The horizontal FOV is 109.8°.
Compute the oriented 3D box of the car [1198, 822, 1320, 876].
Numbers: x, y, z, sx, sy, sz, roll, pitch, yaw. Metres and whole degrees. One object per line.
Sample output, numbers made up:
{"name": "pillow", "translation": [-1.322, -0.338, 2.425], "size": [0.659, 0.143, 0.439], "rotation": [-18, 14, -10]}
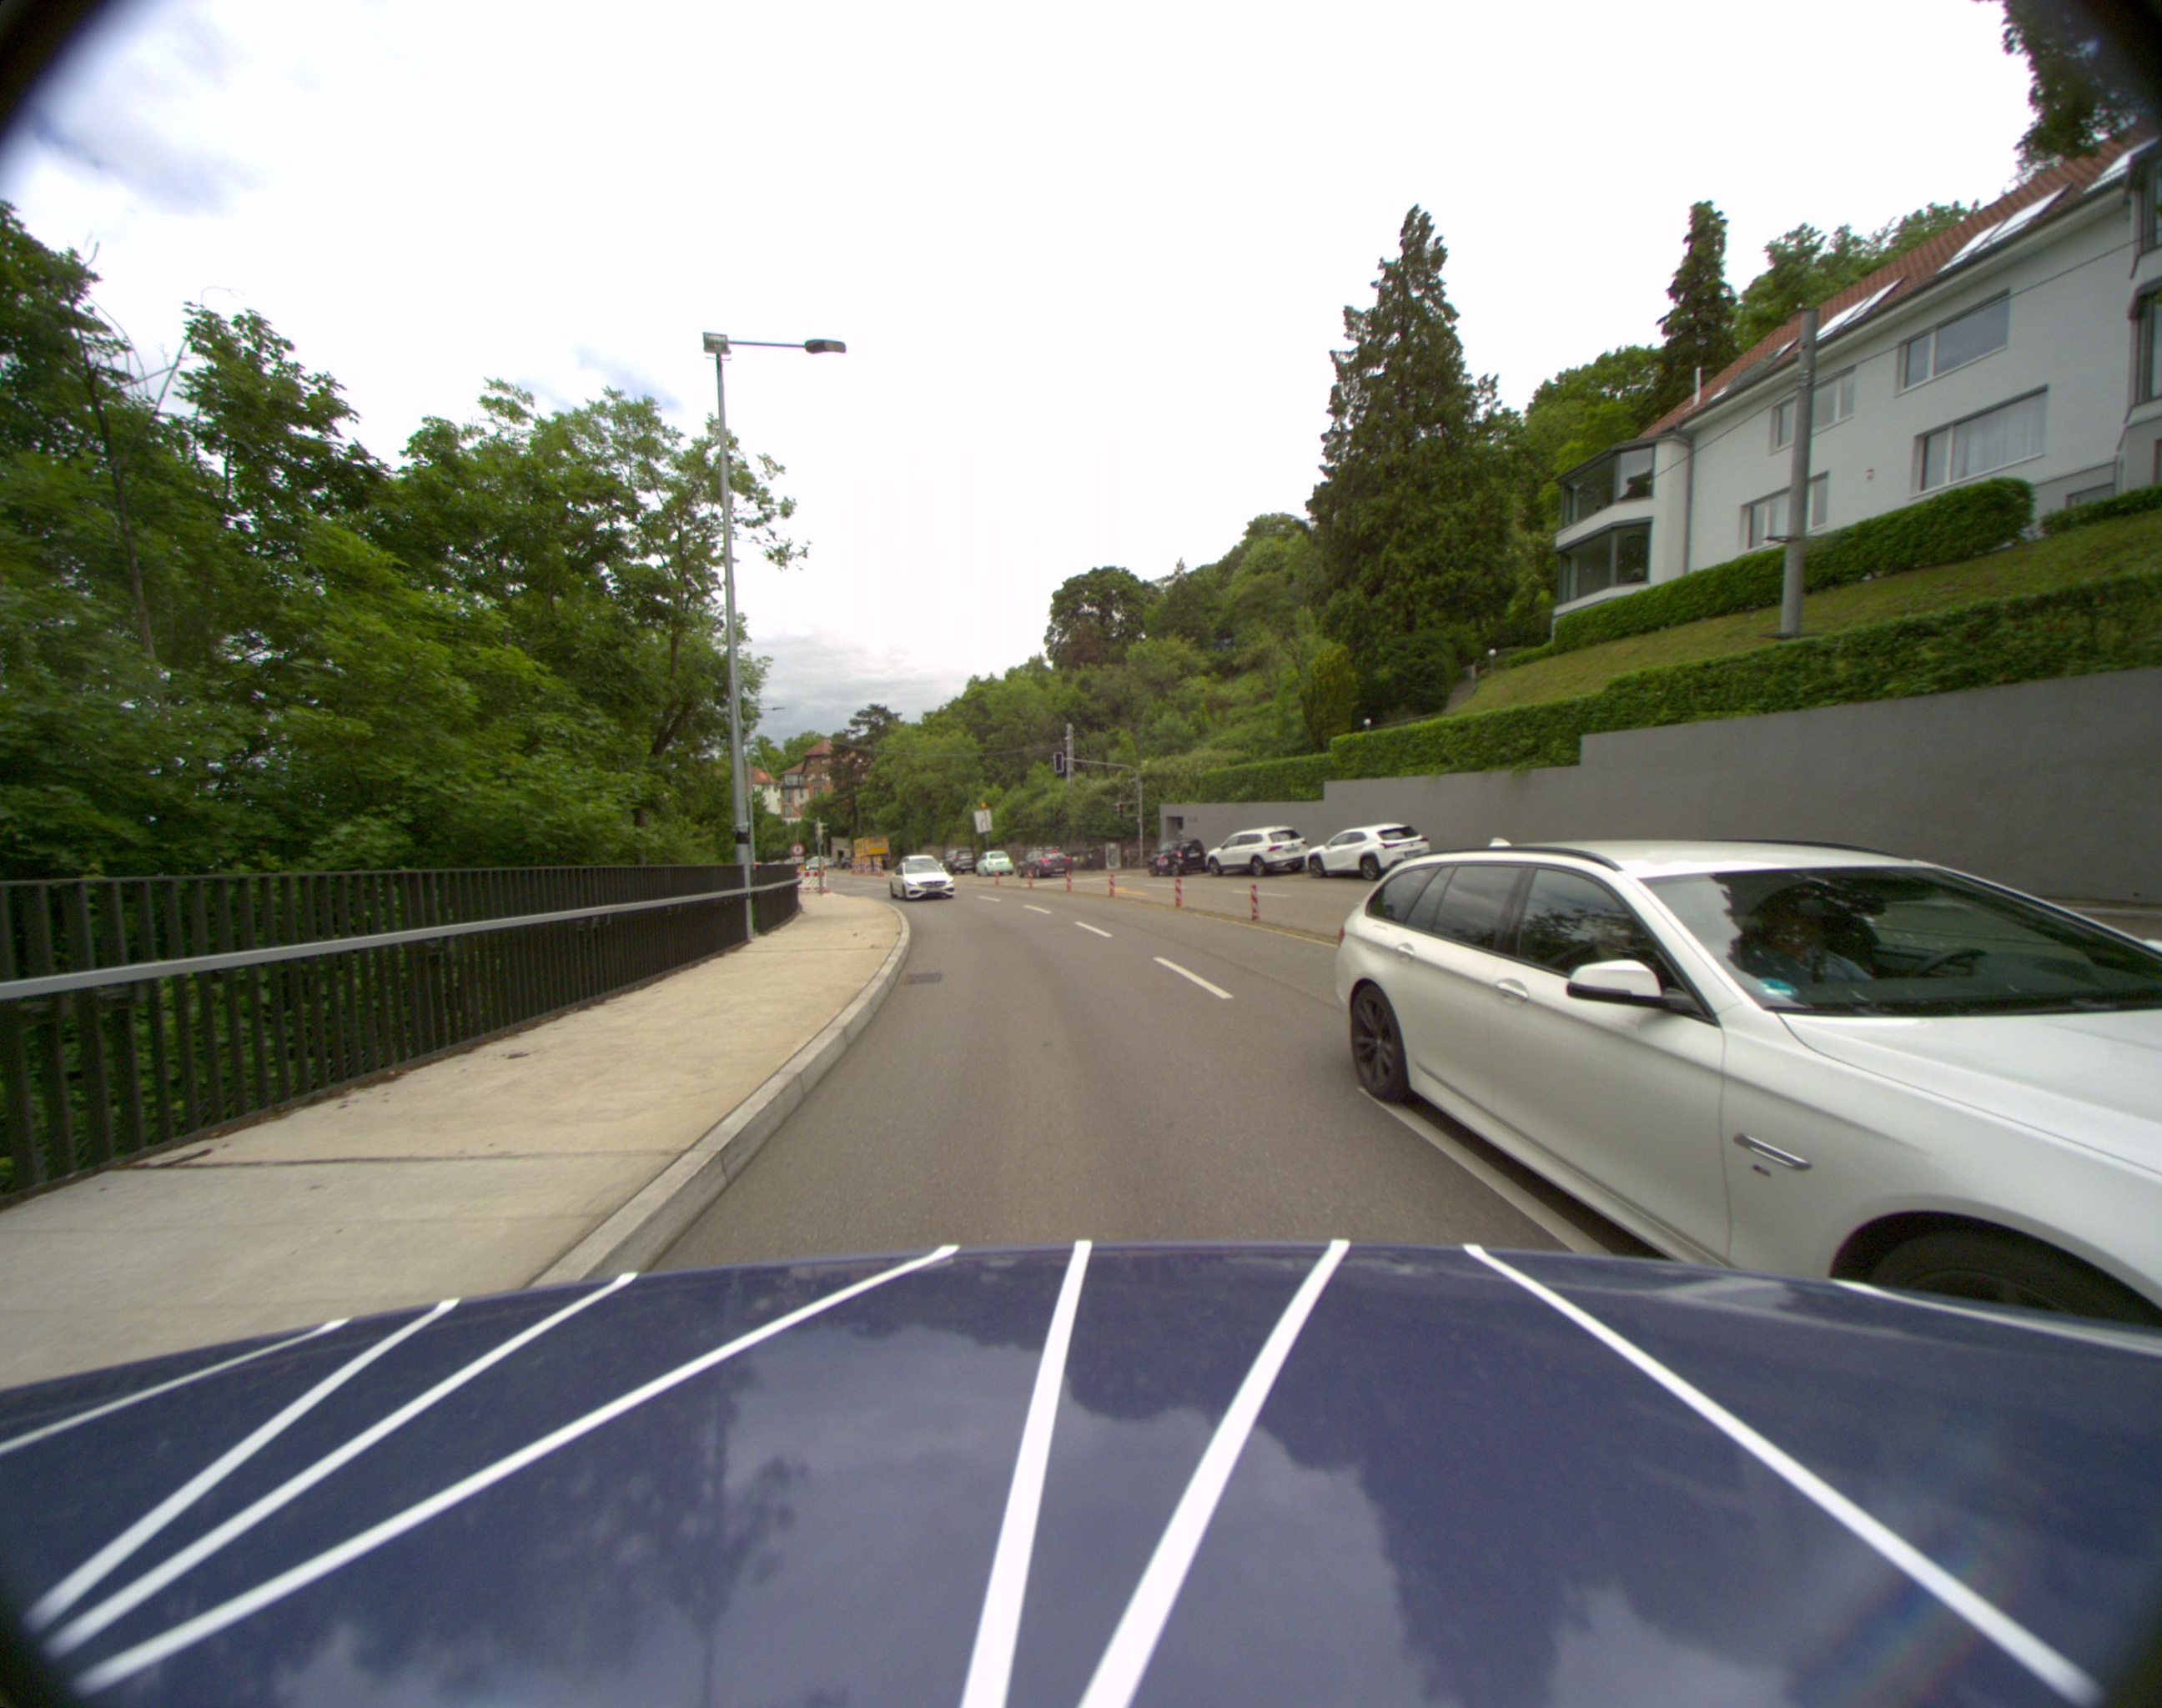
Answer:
{"name": "car", "translation": [6.546, -0.178, 28.521], "size": [1.866, 1.721, 4.752], "rotation": [-6, 2, -24]}

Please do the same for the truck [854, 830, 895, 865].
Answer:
{"name": "truck", "translation": [-22.204, -0.704, 81.506], "size": [2.743, 3.490, 7.334], "rotation": [-4, 2, -26]}

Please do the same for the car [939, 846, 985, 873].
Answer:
{"name": "car", "translation": [-8.471, 0.407, 53.800], "size": [1.891, 1.687, 4.662], "rotation": [-4, 1, -25]}

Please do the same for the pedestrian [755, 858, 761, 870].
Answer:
{"name": "pedestrian", "translation": [-47.031, 1.456, 110.628], "size": [0.641, 1.848, 0.832], "rotation": [-1, 0, -37]}

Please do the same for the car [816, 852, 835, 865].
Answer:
{"name": "car", "translation": [-39.459, 0.658, 117.260], "size": [1.811, 1.781, 4.331], "rotation": [-6, 2, -32]}

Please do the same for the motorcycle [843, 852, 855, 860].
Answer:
{"name": "motorcycle", "translation": [-38.660, 0.337, 126.688], "size": [1.846, 1.177, 0.635], "rotation": [-5, 7, -23]}

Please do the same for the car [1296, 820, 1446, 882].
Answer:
{"name": "car", "translation": [8.624, -0.119, 23.099], "size": [1.839, 1.564, 4.468], "rotation": [-5, 2, -17]}

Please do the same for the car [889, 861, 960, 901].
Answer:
{"name": "car", "translation": [-6.005, 0.970, 28.769], "size": [1.801, 1.299, 4.092], "rotation": [-4, 1, -23]}

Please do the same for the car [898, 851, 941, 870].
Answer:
{"name": "car", "translation": [-13.688, 0.595, 64.027], "size": [1.818, 1.422, 4.863], "rotation": [-5, 2, -33]}

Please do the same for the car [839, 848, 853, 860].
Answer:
{"name": "car", "translation": [-39.729, -0.013, 128.586], "size": [1.575, 1.597, 3.577], "rotation": [-6, 7, -26]}

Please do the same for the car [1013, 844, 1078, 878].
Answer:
{"name": "car", "translation": [-1.929, 0.334, 39.994], "size": [1.718, 1.589, 4.197], "rotation": [-4, 2, -27]}

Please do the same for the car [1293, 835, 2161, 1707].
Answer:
{"name": "car", "translation": [2.588, 0.734, 2.907], "size": [1.853, 1.459, 4.875], "rotation": [-4, 2, -3]}

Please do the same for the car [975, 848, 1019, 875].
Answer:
{"name": "car", "translation": [-5.168, 0.460, 46.402], "size": [1.718, 1.458, 3.654], "rotation": [-5, 1, -21]}

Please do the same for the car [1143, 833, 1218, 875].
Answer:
{"name": "car", "translation": [4.265, 0.011, 32.893], "size": [1.718, 1.564, 2.952], "rotation": [-7, 2, -25]}

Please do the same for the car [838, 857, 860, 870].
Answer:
{"name": "car", "translation": [-29.182, 1.155, 95.305], "size": [1.778, 1.433, 4.735], "rotation": [-5, 2, -26]}

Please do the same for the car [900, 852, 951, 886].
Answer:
{"name": "car", "translation": [-8.363, 0.766, 40.662], "size": [1.888, 1.569, 3.992], "rotation": [-5, 2, -22]}
